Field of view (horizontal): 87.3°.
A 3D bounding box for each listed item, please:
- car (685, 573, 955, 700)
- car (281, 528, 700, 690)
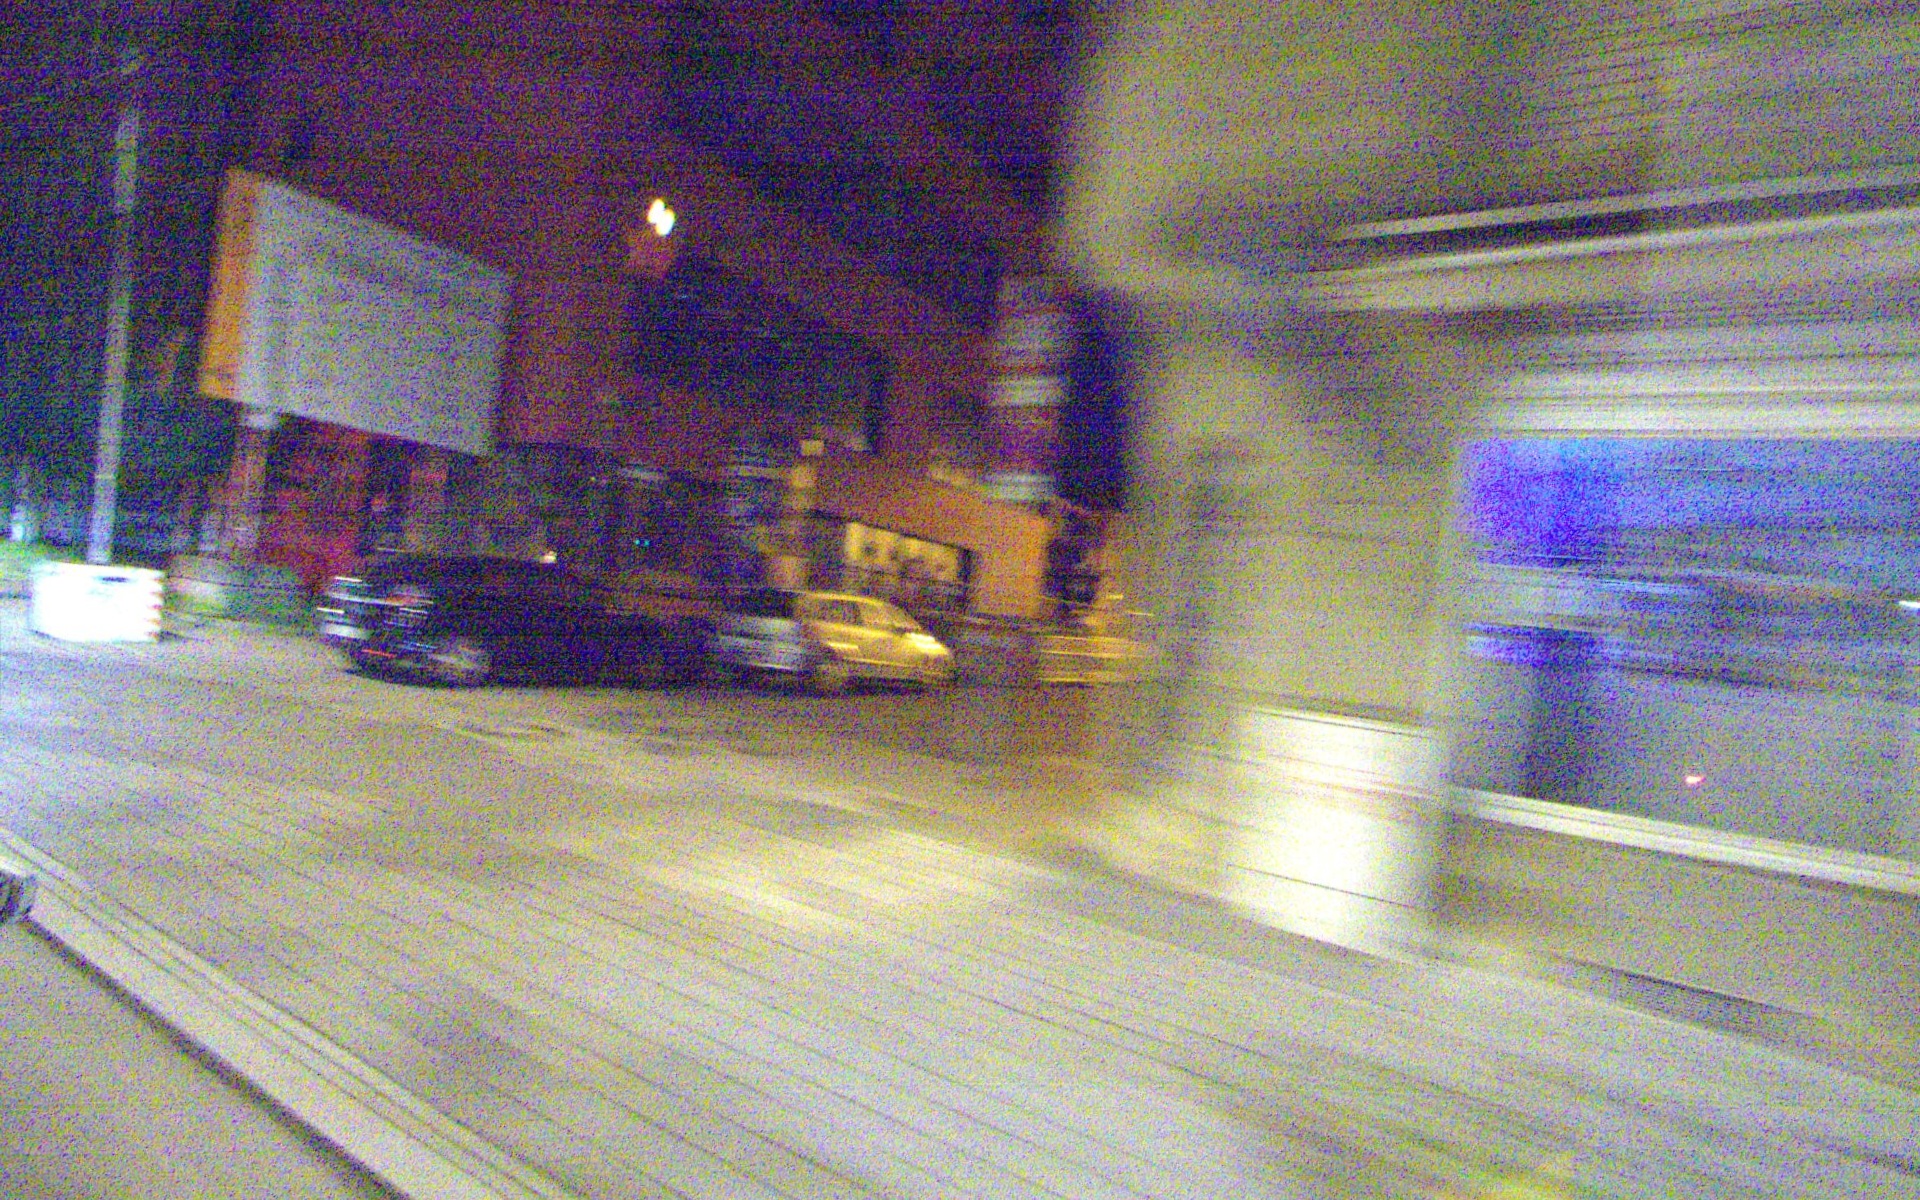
[{"bbox_3d":[-1.933,0.602,15.270,1.820,1.485,4.200,7,-1,28],"label":"car"},{"bbox_3d":[-5.180,0.208,11.689,1.821,1.439,4.022,5,-2,29],"label":"car"}]
